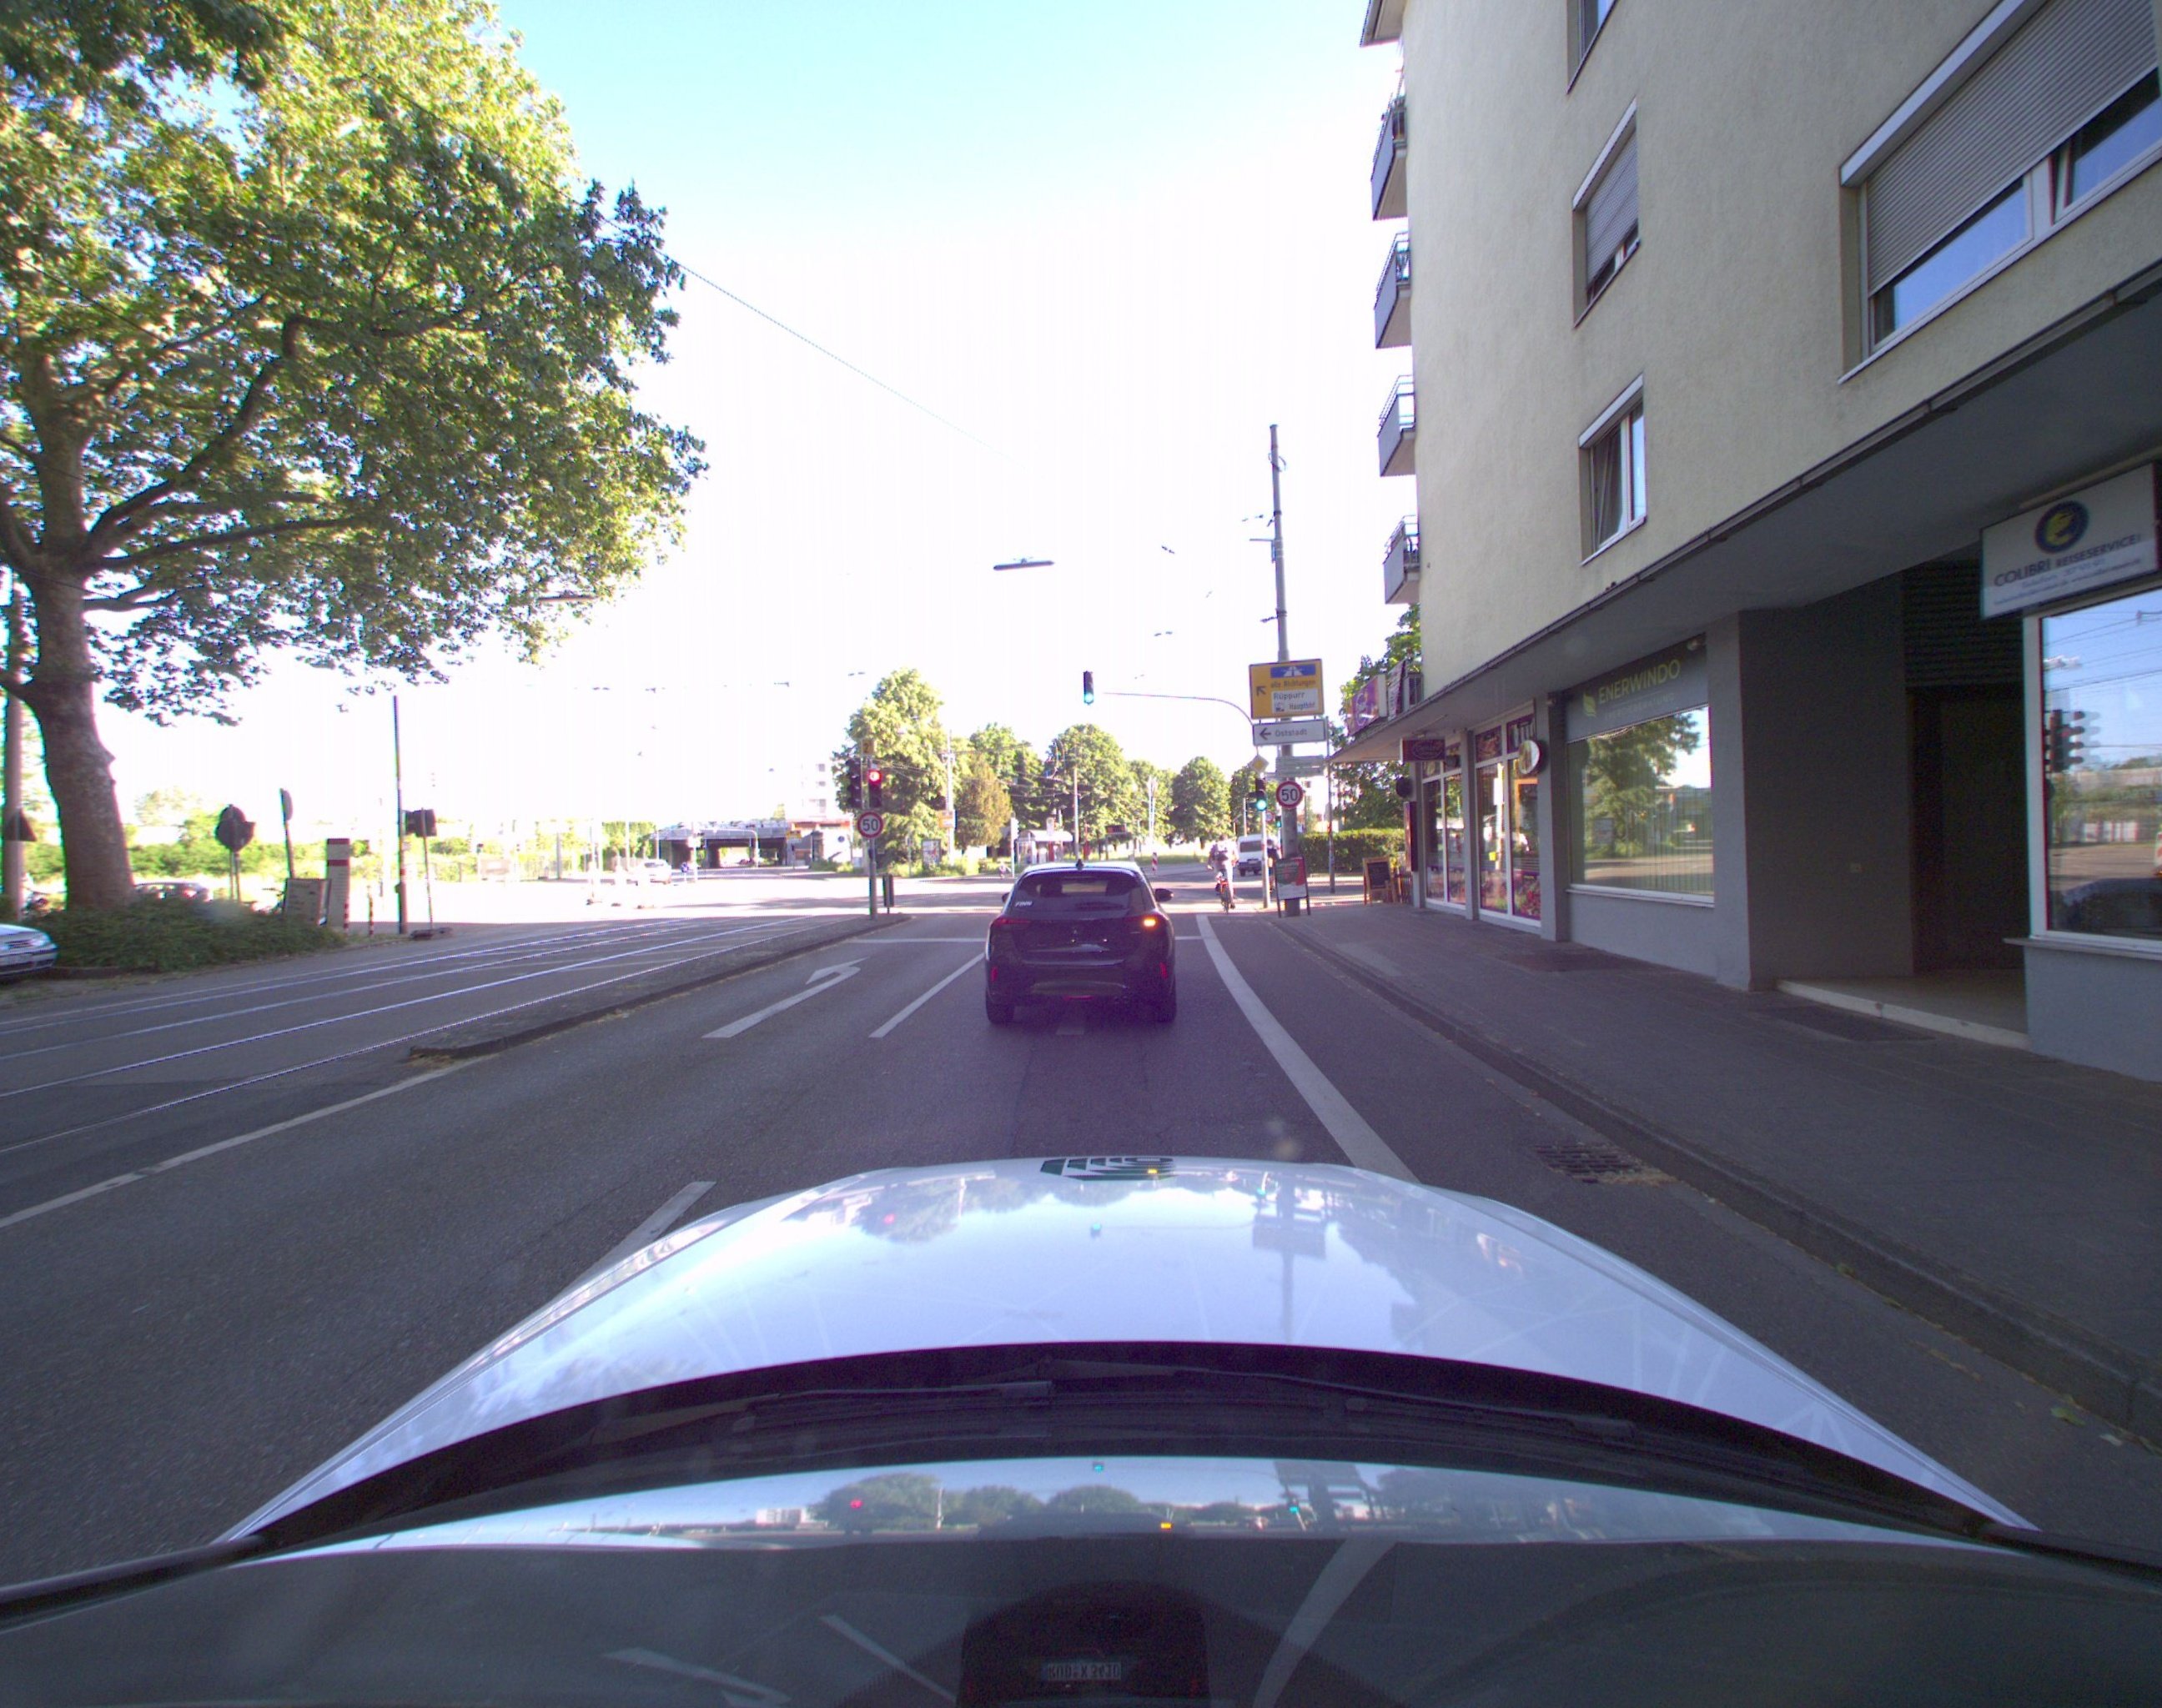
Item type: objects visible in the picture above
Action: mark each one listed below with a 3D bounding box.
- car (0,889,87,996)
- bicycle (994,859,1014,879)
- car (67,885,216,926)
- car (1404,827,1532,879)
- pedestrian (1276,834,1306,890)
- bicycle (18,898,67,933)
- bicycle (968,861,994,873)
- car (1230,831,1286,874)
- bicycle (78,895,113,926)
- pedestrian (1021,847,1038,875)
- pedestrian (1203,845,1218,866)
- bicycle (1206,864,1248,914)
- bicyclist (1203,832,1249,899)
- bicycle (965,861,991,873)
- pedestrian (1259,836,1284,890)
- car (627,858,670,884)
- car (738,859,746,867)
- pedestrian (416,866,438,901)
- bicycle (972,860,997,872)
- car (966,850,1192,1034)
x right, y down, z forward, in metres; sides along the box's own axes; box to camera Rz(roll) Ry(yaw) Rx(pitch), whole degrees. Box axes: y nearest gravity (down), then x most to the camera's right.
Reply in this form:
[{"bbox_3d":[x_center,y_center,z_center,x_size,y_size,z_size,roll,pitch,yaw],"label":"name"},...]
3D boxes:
[{"bbox_3d":[-16.680,1.236,11.060,3.980,1.417,1.701,0,-1,-5],"label":"car"},{"bbox_3d":[-4.397,0.868,46.623,0.821,1.059,1.885,-2,0,4],"label":"bicycle"},{"bbox_3d":[-43.483,2.348,37.840,4.006,1.419,1.880,-1,6,-25],"label":"car"},{"bbox_3d":[15.088,0.004,31.969,4.150,1.814,1.811,-2,-3,10],"label":"car"},{"bbox_3d":[7.077,0.268,27.421,0.696,1.846,0.705,-2,0,41],"label":"pedestrian"},{"bbox_3d":[-25.060,1.467,19.672,0.360,0.759,1.759,-1,0,-40],"label":"bicycle"},{"bbox_3d":[-7.971,1.029,64.909,1.866,0.906,0.661,-2,0,8],"label":"bicycle"},{"bbox_3d":[9.981,-0.068,45.751,2.070,2.277,4.331,-1,-1,26],"label":"car"},{"bbox_3d":[-26.262,1.499,21.695,1.757,0.759,0.360,-1,0,32],"label":"bicycle"},{"bbox_3d":[-3.166,0.412,49.780,0.704,1.693,0.719,-2,0,-41],"label":"pedestrian"},{"bbox_3d":[11.214,0.121,70.292,0.949,1.793,1.002,-2,0,27],"label":"pedestrian"},{"bbox_3d":[3.459,0.808,19.497,0.665,1.059,2.083,-2,0,2],"label":"bicycle"},{"bbox_3d":[3.446,0.258,19.469,0.837,1.510,1.368,-2,0,0],"label":"bicyclist"},{"bbox_3d":[-8.098,1.016,63.926,1.866,0.906,0.661,-2,0,8],"label":"bicycle"},{"bbox_3d":[6.554,0.306,28.012,0.696,1.792,0.617,-2,0,1],"label":"pedestrian"},{"bbox_3d":[-28.631,1.099,53.825,2.008,1.631,4.582,-2,0,-34],"label":"car"},{"bbox_3d":[-93.162,2.427,223.588,2.003,2.014,3.967,0,-1,-25],"label":"car"},{"bbox_3d":[-30.435,1.352,37.907,0.602,1.596,0.679,0,-1,-24],"label":"pedestrian"},{"bbox_3d":[-7.795,1.000,65.777,1.866,0.906,0.661,-2,0,8],"label":"bicycle"},{"bbox_3d":[0.097,0.709,8.566,1.793,1.441,3.943,-2,0,3],"label":"car"}]
